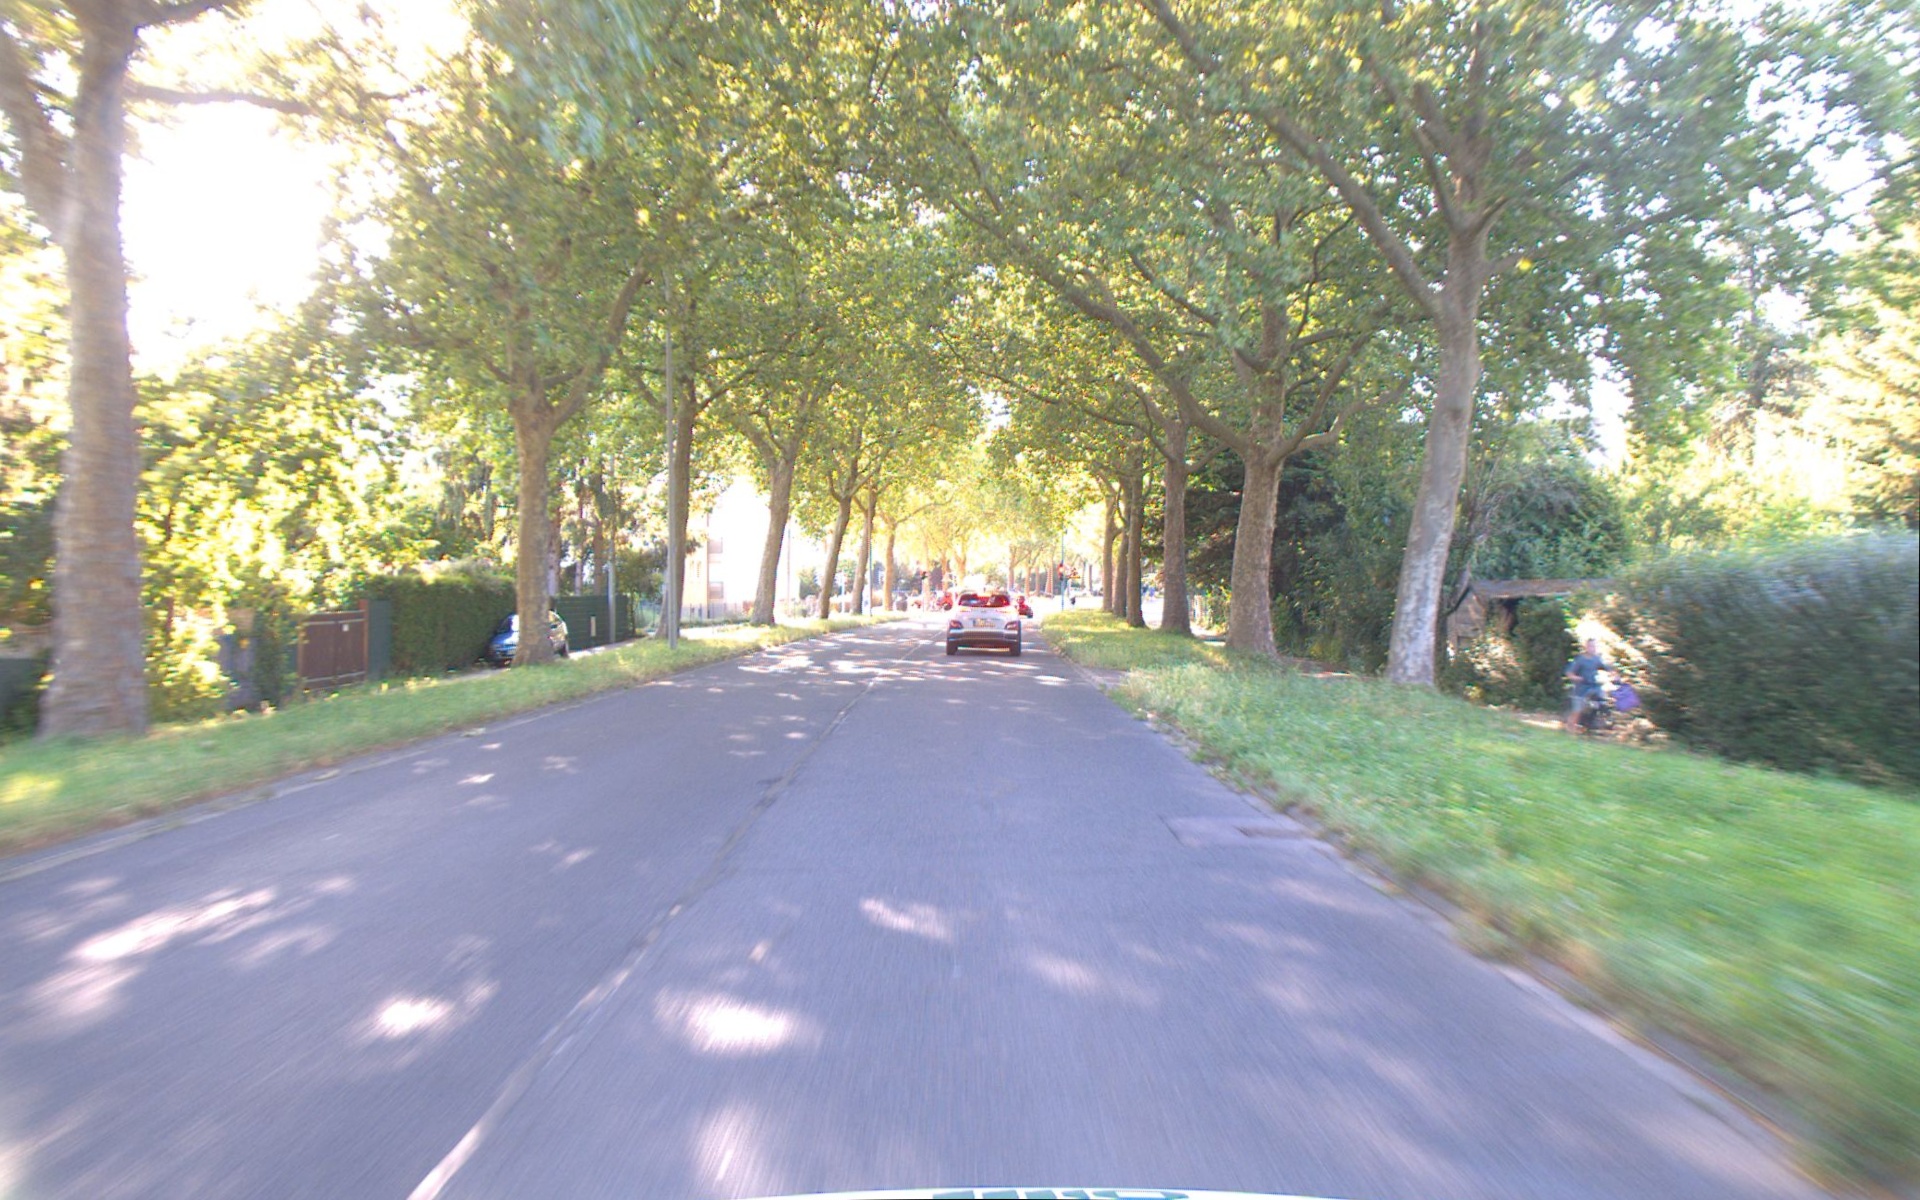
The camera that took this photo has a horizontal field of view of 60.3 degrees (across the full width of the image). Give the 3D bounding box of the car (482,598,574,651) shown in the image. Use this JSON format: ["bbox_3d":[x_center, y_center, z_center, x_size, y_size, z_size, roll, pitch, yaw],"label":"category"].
[{"bbox_3d":[-12.286,0.663,47.263,1.717,1.327,3.999,-1,1,-2],"label":"car"}]

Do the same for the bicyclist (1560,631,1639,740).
[{"bbox_3d":[8.431,1.113,21.816,0.719,1.390,0.770,1,0,-2],"label":"bicyclist"}]

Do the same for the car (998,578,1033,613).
[{"bbox_3d":[3.288,-0.249,98.178,1.952,2.049,4.000,1,0,1],"label":"car"}]

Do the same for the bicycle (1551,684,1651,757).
[{"bbox_3d":[8.427,1.571,21.826,0.541,0.831,1.888,1,0,-1],"label":"bicycle"}]

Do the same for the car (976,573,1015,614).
[{"bbox_3d":[1.873,-0.311,86.633,1.952,2.049,4.001,1,0,2],"label":"car"}]

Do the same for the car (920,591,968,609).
[{"bbox_3d":[-1.376,0.008,141.637,3.903,1.504,2.001,1,0,4],"label":"car"}]

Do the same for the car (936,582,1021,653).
[{"bbox_3d":[0.464,0.408,40.508,1.952,1.602,4.000,1,0,1],"label":"car"}]

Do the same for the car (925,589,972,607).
[{"bbox_3d":[-1.005,-0.179,144.618,3.902,1.504,2.001,1,0,7],"label":"car"}]

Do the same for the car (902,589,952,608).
[{"bbox_3d":[-2.674,-0.133,134.403,3.903,1.504,2.001,1,0,4],"label":"car"}]

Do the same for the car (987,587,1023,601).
[{"bbox_3d":[5.053,-0.636,186.088,3.903,1.504,2.001,1,0,4],"label":"car"}]
